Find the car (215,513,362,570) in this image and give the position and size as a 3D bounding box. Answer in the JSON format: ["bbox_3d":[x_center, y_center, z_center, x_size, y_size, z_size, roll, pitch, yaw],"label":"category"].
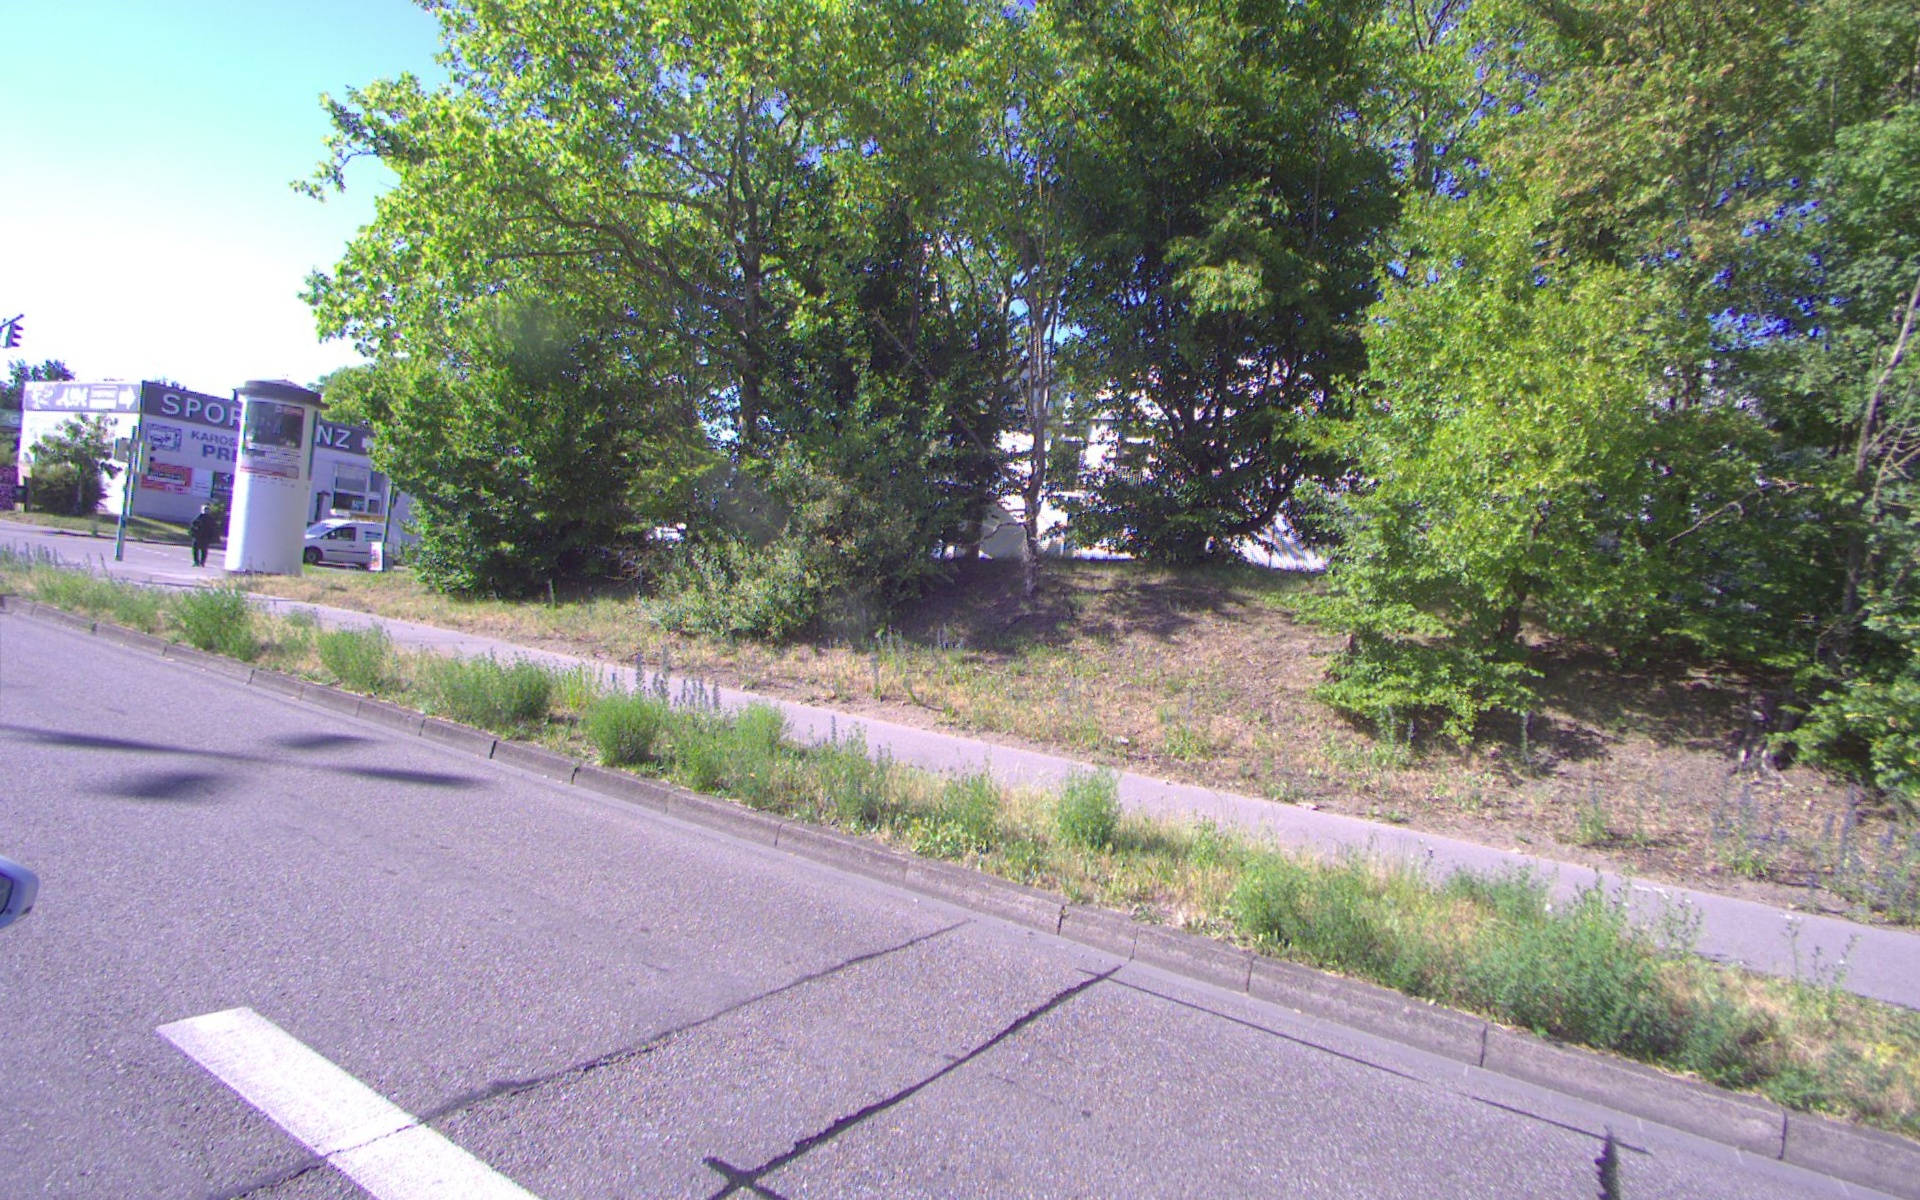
[{"bbox_3d":[-26.835,-2.289,40.354,1.965,1.571,4.415,7,-1,28],"label":"car"}]

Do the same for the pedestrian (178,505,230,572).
[{"bbox_3d":[-21.162,-1.718,28.160,0.841,1.743,0.822,7,0,39],"label":"pedestrian"}]

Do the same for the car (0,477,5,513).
[{"bbox_3d":[-48.292,-5.353,47.694,1.663,1.726,4.003,7,-1,16],"label":"car"}]

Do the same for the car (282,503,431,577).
[{"bbox_3d":[-23.393,-2.294,39.182,1.965,2.171,4.415,7,-1,28],"label":"car"}]
